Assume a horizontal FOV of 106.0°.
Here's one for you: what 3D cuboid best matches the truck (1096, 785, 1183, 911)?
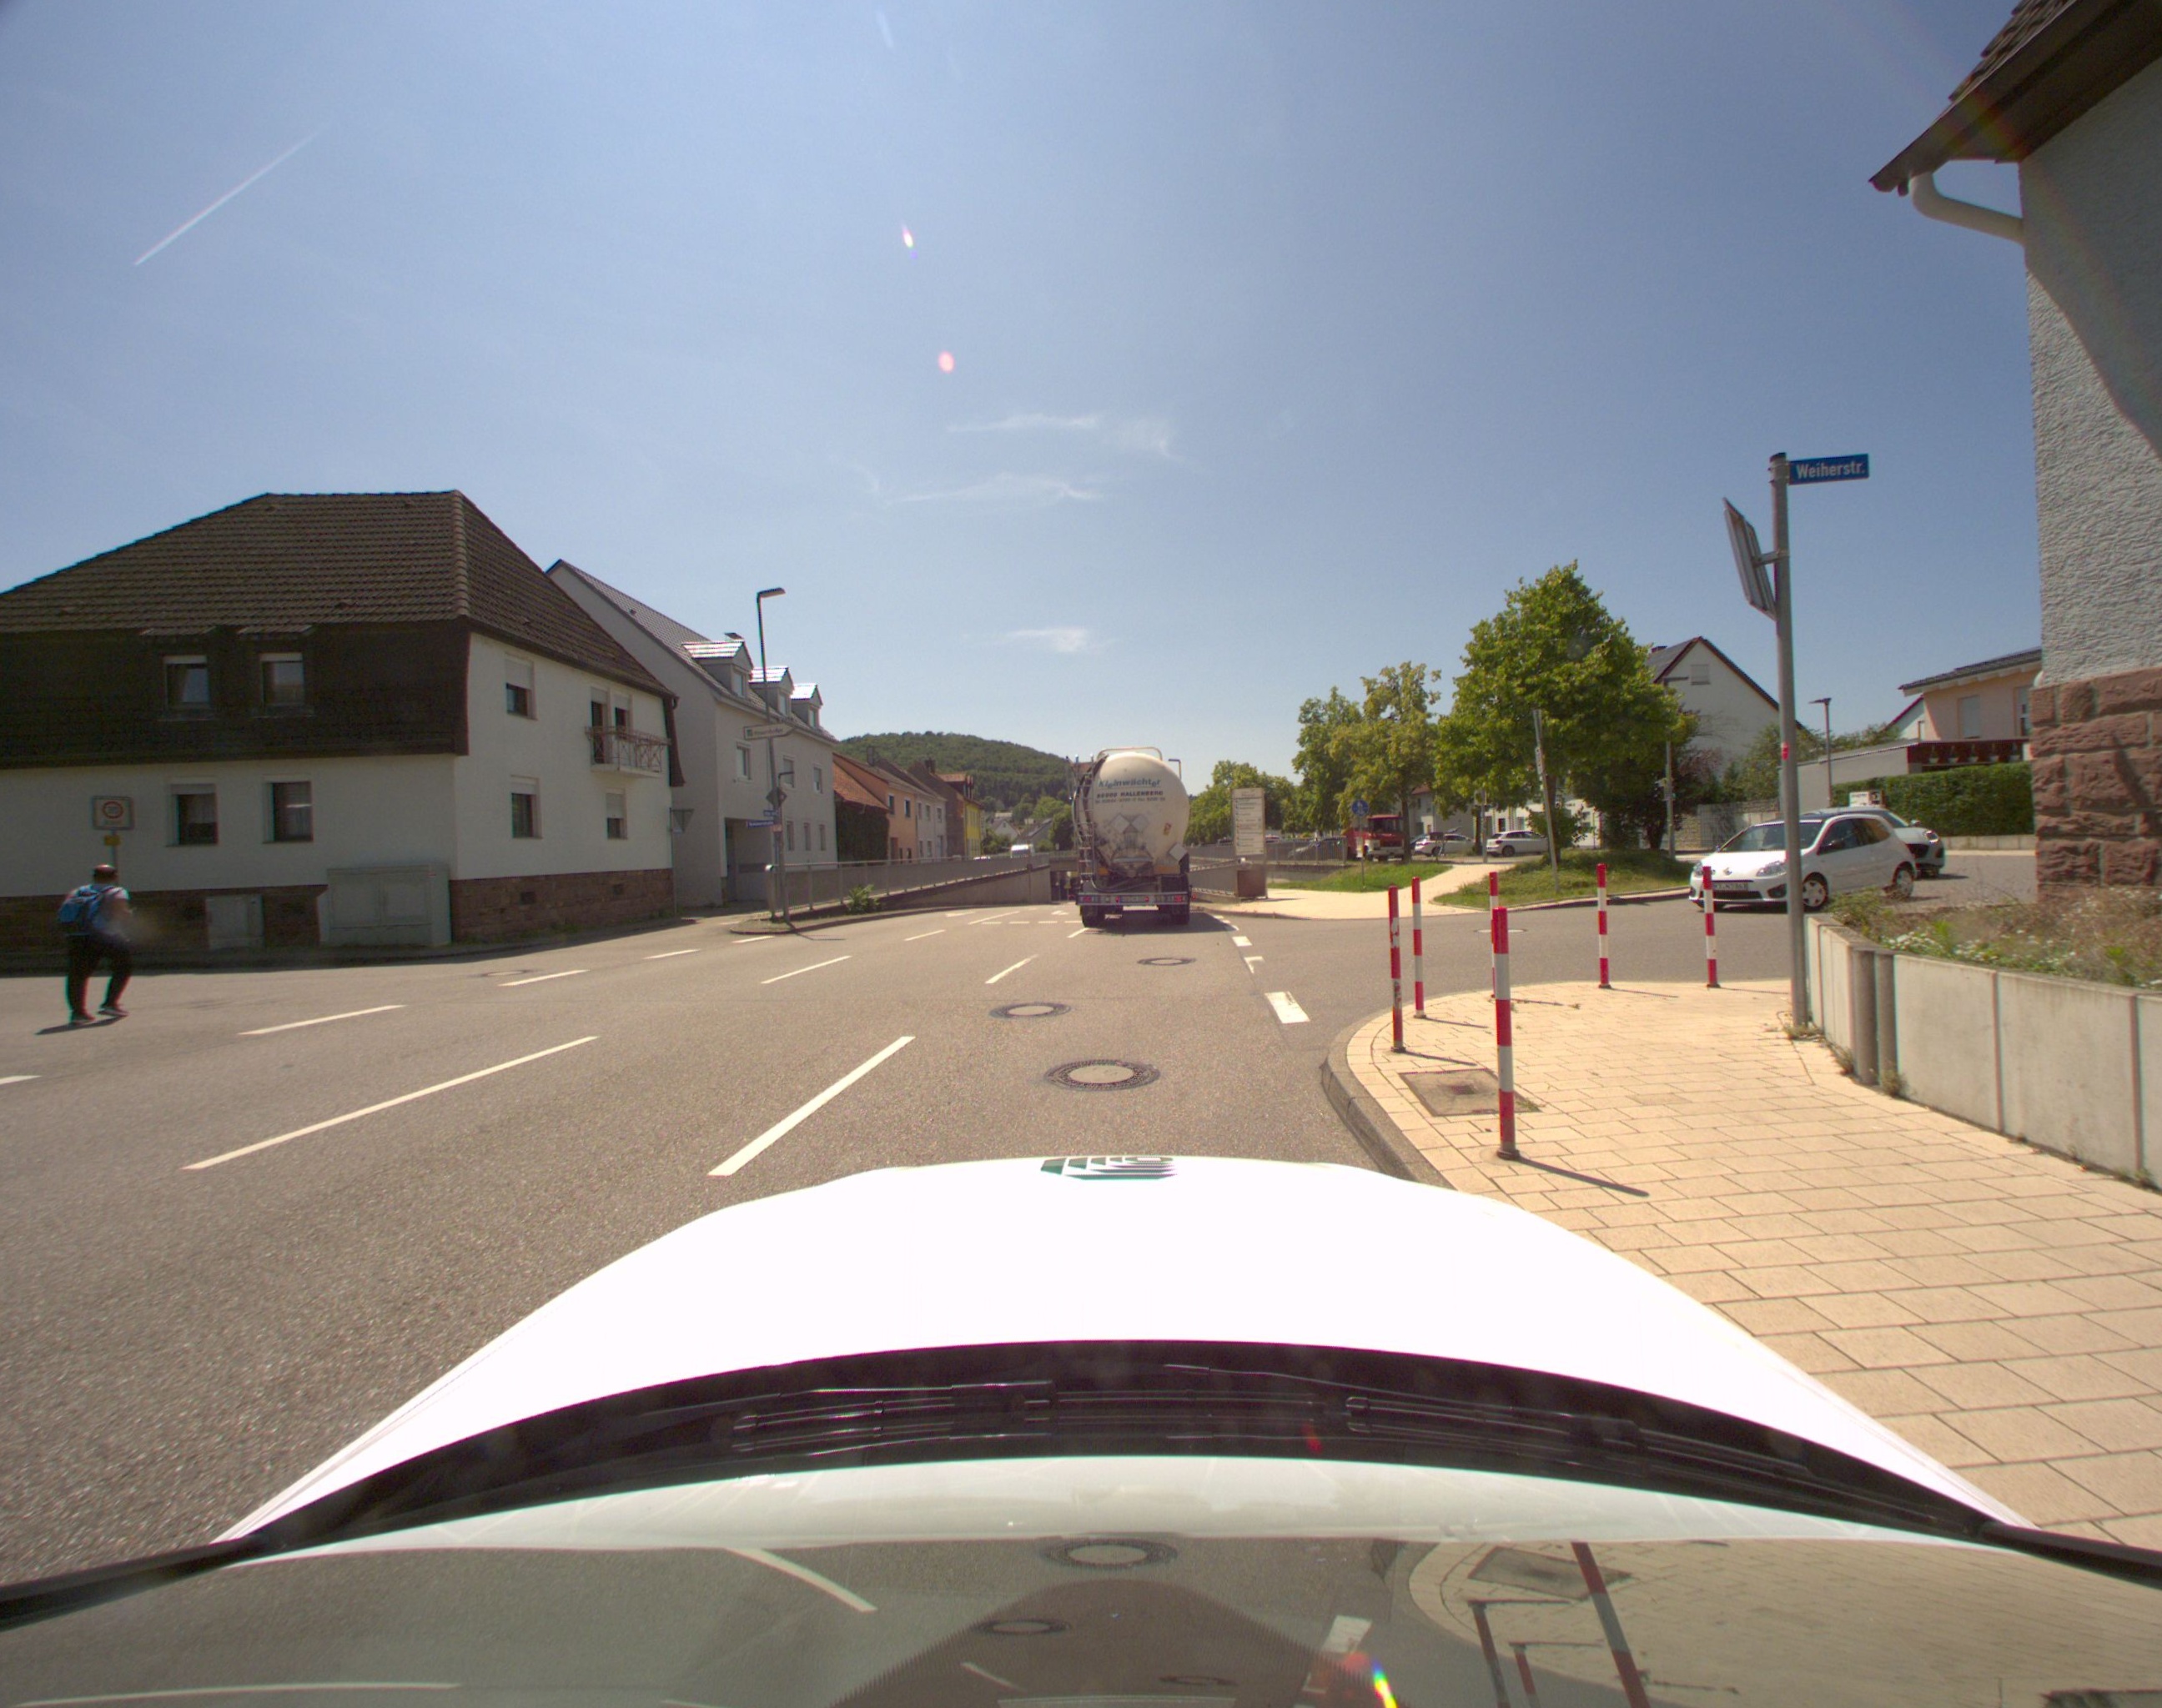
[{"bbox_3d":[2.239,-0.110,30.081,2.722,4.065,6.538,-2,-2,5],"label":"truck"}]

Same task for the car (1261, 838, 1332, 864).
[{"bbox_3d":[14.029,-0.191,53.068,4.186,1.498,1.688,-2,0,3],"label":"car"}]

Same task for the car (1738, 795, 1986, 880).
[{"bbox_3d":[17.072,-0.309,18.149,1.761,1.535,4.133,-5,-1,6],"label":"car"}]

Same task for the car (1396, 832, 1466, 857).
[{"bbox_3d":[26.041,-0.701,60.708,4.388,1.490,1.759,-4,-1,3],"label":"car"}]

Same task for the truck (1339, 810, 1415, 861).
[{"bbox_3d":[14.988,-0.879,41.568,2.124,2.334,5.263,-2,0,2],"label":"truck"}]

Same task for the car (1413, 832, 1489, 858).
[{"bbox_3d":[25.495,-0.625,56.264,4.388,1.490,1.759,-4,-1,3],"label":"car"}]

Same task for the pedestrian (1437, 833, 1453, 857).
[{"bbox_3d":[23.609,-0.603,52.847,0.606,1.511,0.746,-5,0,42],"label":"pedestrian"}]

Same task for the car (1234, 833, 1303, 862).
[{"bbox_3d":[14.989,-0.531,65.170,5.090,2.063,1.991,-2,0,3],"label":"car"}]

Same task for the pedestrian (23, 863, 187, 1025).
[{"bbox_3d":[-10.979,0.987,9.200,0.725,1.729,0.856,-1,-3,-1],"label":"pedestrian"}]

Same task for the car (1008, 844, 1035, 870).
[{"bbox_3d":[-6.075,0.298,83.465,2.057,2.536,5.665,0,0,3],"label":"car"}]

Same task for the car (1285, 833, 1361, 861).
[{"bbox_3d":[14.172,-0.395,47.783,3.969,1.498,1.750,-2,0,3],"label":"car"}]

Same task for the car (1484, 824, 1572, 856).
[{"bbox_3d":[25.163,-0.760,45.983,3.921,1.478,1.759,-4,-1,3],"label":"car"}]

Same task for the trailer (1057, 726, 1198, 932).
[{"bbox_3d":[1.575,-0.305,23.063,2.721,4.065,13.331,-2,-2,5],"label":"trailer"}]

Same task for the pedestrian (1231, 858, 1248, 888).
[{"bbox_3d":[9.591,1.135,49.355,0.832,1.782,0.789,-2,-3,3],"label":"pedestrian"}]

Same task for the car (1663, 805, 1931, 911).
[{"bbox_3d":[11.911,0.060,13.589,3.683,1.478,1.763,-3,-2,-20],"label":"car"}]

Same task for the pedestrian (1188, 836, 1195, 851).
[{"bbox_3d":[13.624,-1.305,100.455,0.670,1.779,0.595,-2,-1,4],"label":"pedestrian"}]
